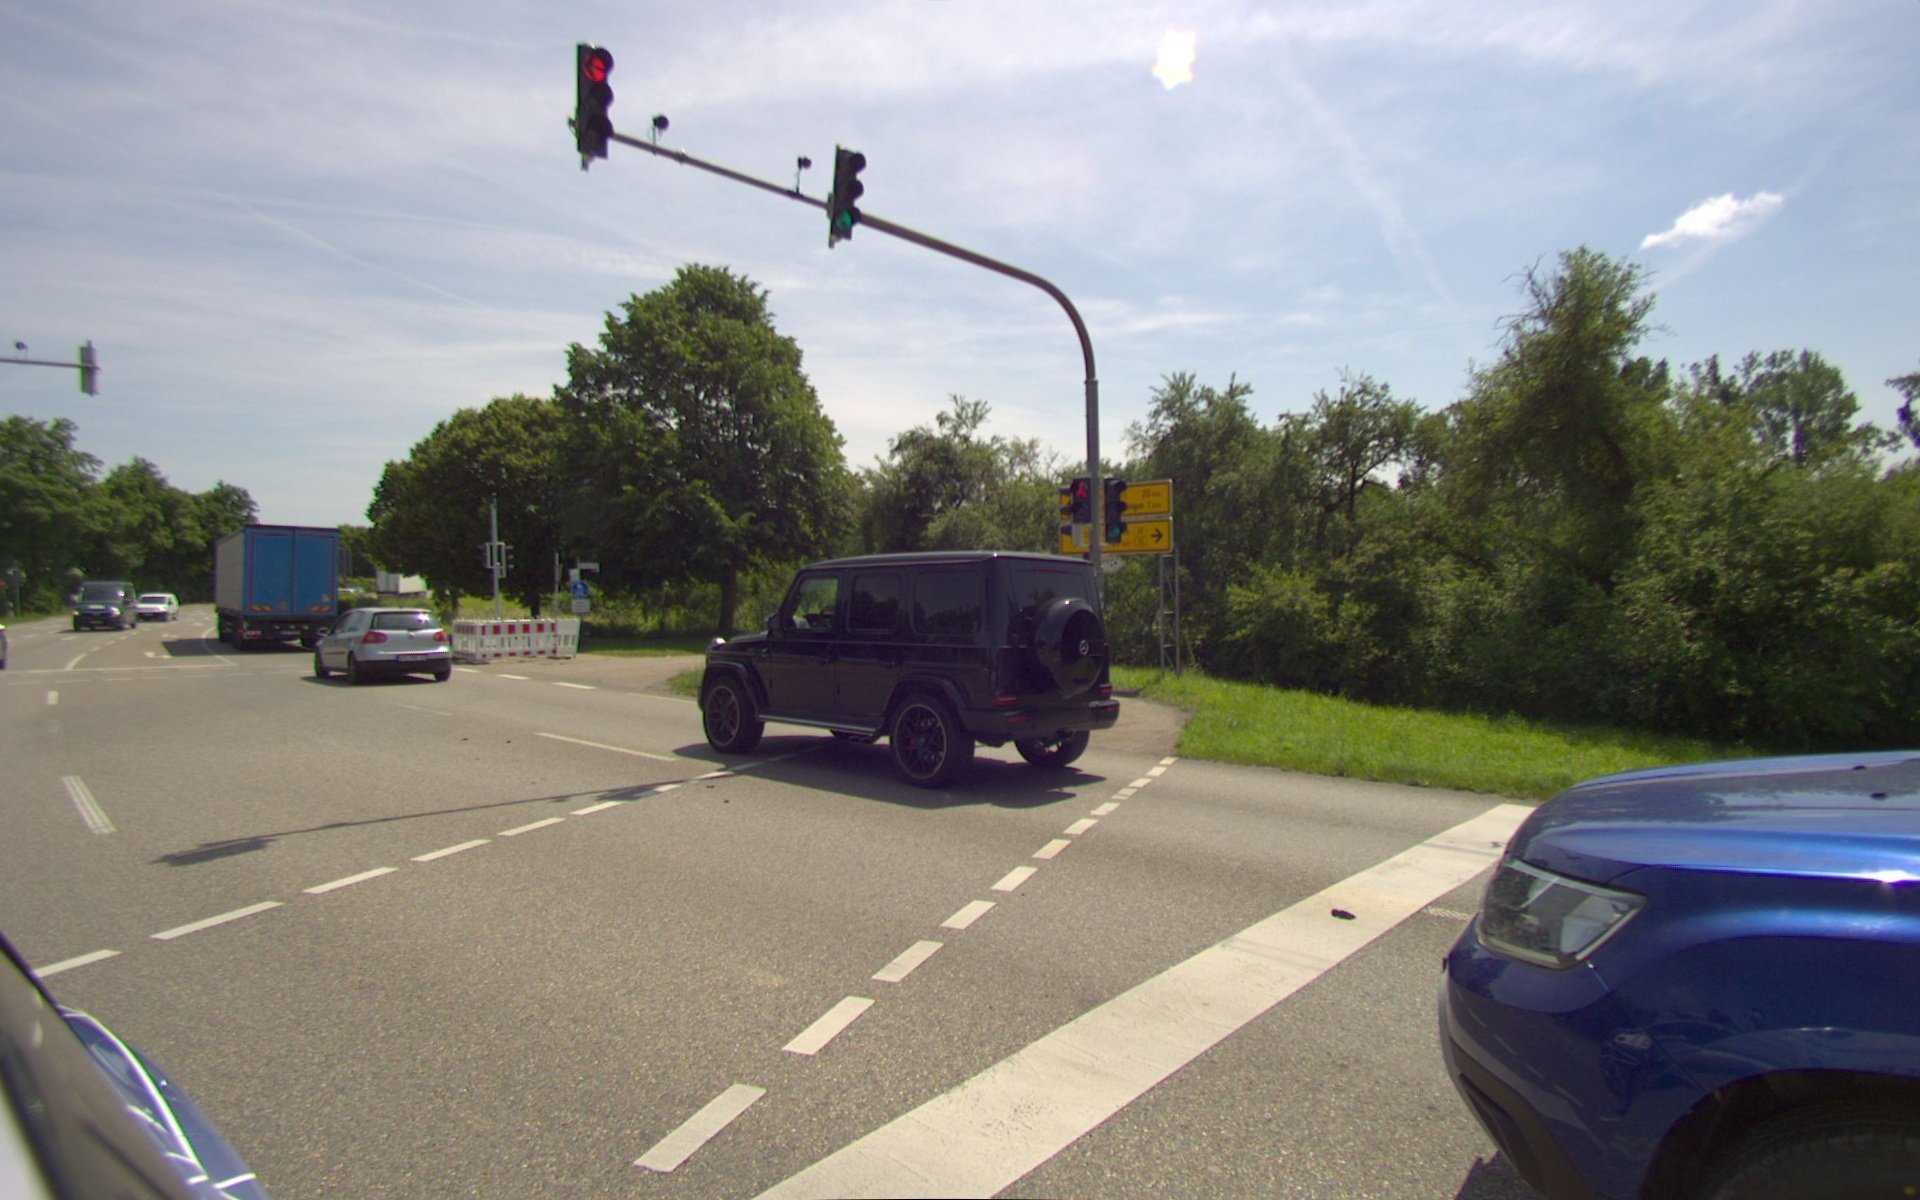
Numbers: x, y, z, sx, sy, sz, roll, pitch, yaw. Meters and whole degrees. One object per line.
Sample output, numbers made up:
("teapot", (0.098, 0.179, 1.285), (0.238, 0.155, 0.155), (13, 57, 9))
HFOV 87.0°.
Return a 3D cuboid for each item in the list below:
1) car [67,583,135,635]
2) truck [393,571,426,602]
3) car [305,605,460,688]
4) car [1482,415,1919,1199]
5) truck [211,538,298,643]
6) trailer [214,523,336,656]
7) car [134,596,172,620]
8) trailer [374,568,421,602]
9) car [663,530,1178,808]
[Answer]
("car", (-44.327, 0.423, 52.320), (1.948, 2.538, 4.170), (0, 1, -30))
("truck", (-74.618, -1.777, 137.239), (2.739, 3.973, 5.722), (2, -1, -17))
("car", (-11.796, 0.874, 20.569), (1.750, 1.507, 4.003), (2, -1, -45))
("car", (3.022, 0.576, 1.233), (3.995, 1.671, 1.754), (0, -1, 39))
("truck", (-29.782, -0.368, 42.600), (2.534, 4.060, 6.573), (1, 0, -39))
("trailer", (-25.333, -0.343, 37.014), (2.534, 4.060, 13.620), (1, 0, -39))
("car", (-53.326, 0.500, 66.906), (1.755, 1.504, 4.167), (0, 1, -36))
("trailer", (-72.873, -1.852, 131.306), (2.739, 4.133, 11.695), (2, 0, -17))
("car", (-0.648, 0.505, 9.859), (5.164, 2.021, 1.972), (0, 0, 43))
